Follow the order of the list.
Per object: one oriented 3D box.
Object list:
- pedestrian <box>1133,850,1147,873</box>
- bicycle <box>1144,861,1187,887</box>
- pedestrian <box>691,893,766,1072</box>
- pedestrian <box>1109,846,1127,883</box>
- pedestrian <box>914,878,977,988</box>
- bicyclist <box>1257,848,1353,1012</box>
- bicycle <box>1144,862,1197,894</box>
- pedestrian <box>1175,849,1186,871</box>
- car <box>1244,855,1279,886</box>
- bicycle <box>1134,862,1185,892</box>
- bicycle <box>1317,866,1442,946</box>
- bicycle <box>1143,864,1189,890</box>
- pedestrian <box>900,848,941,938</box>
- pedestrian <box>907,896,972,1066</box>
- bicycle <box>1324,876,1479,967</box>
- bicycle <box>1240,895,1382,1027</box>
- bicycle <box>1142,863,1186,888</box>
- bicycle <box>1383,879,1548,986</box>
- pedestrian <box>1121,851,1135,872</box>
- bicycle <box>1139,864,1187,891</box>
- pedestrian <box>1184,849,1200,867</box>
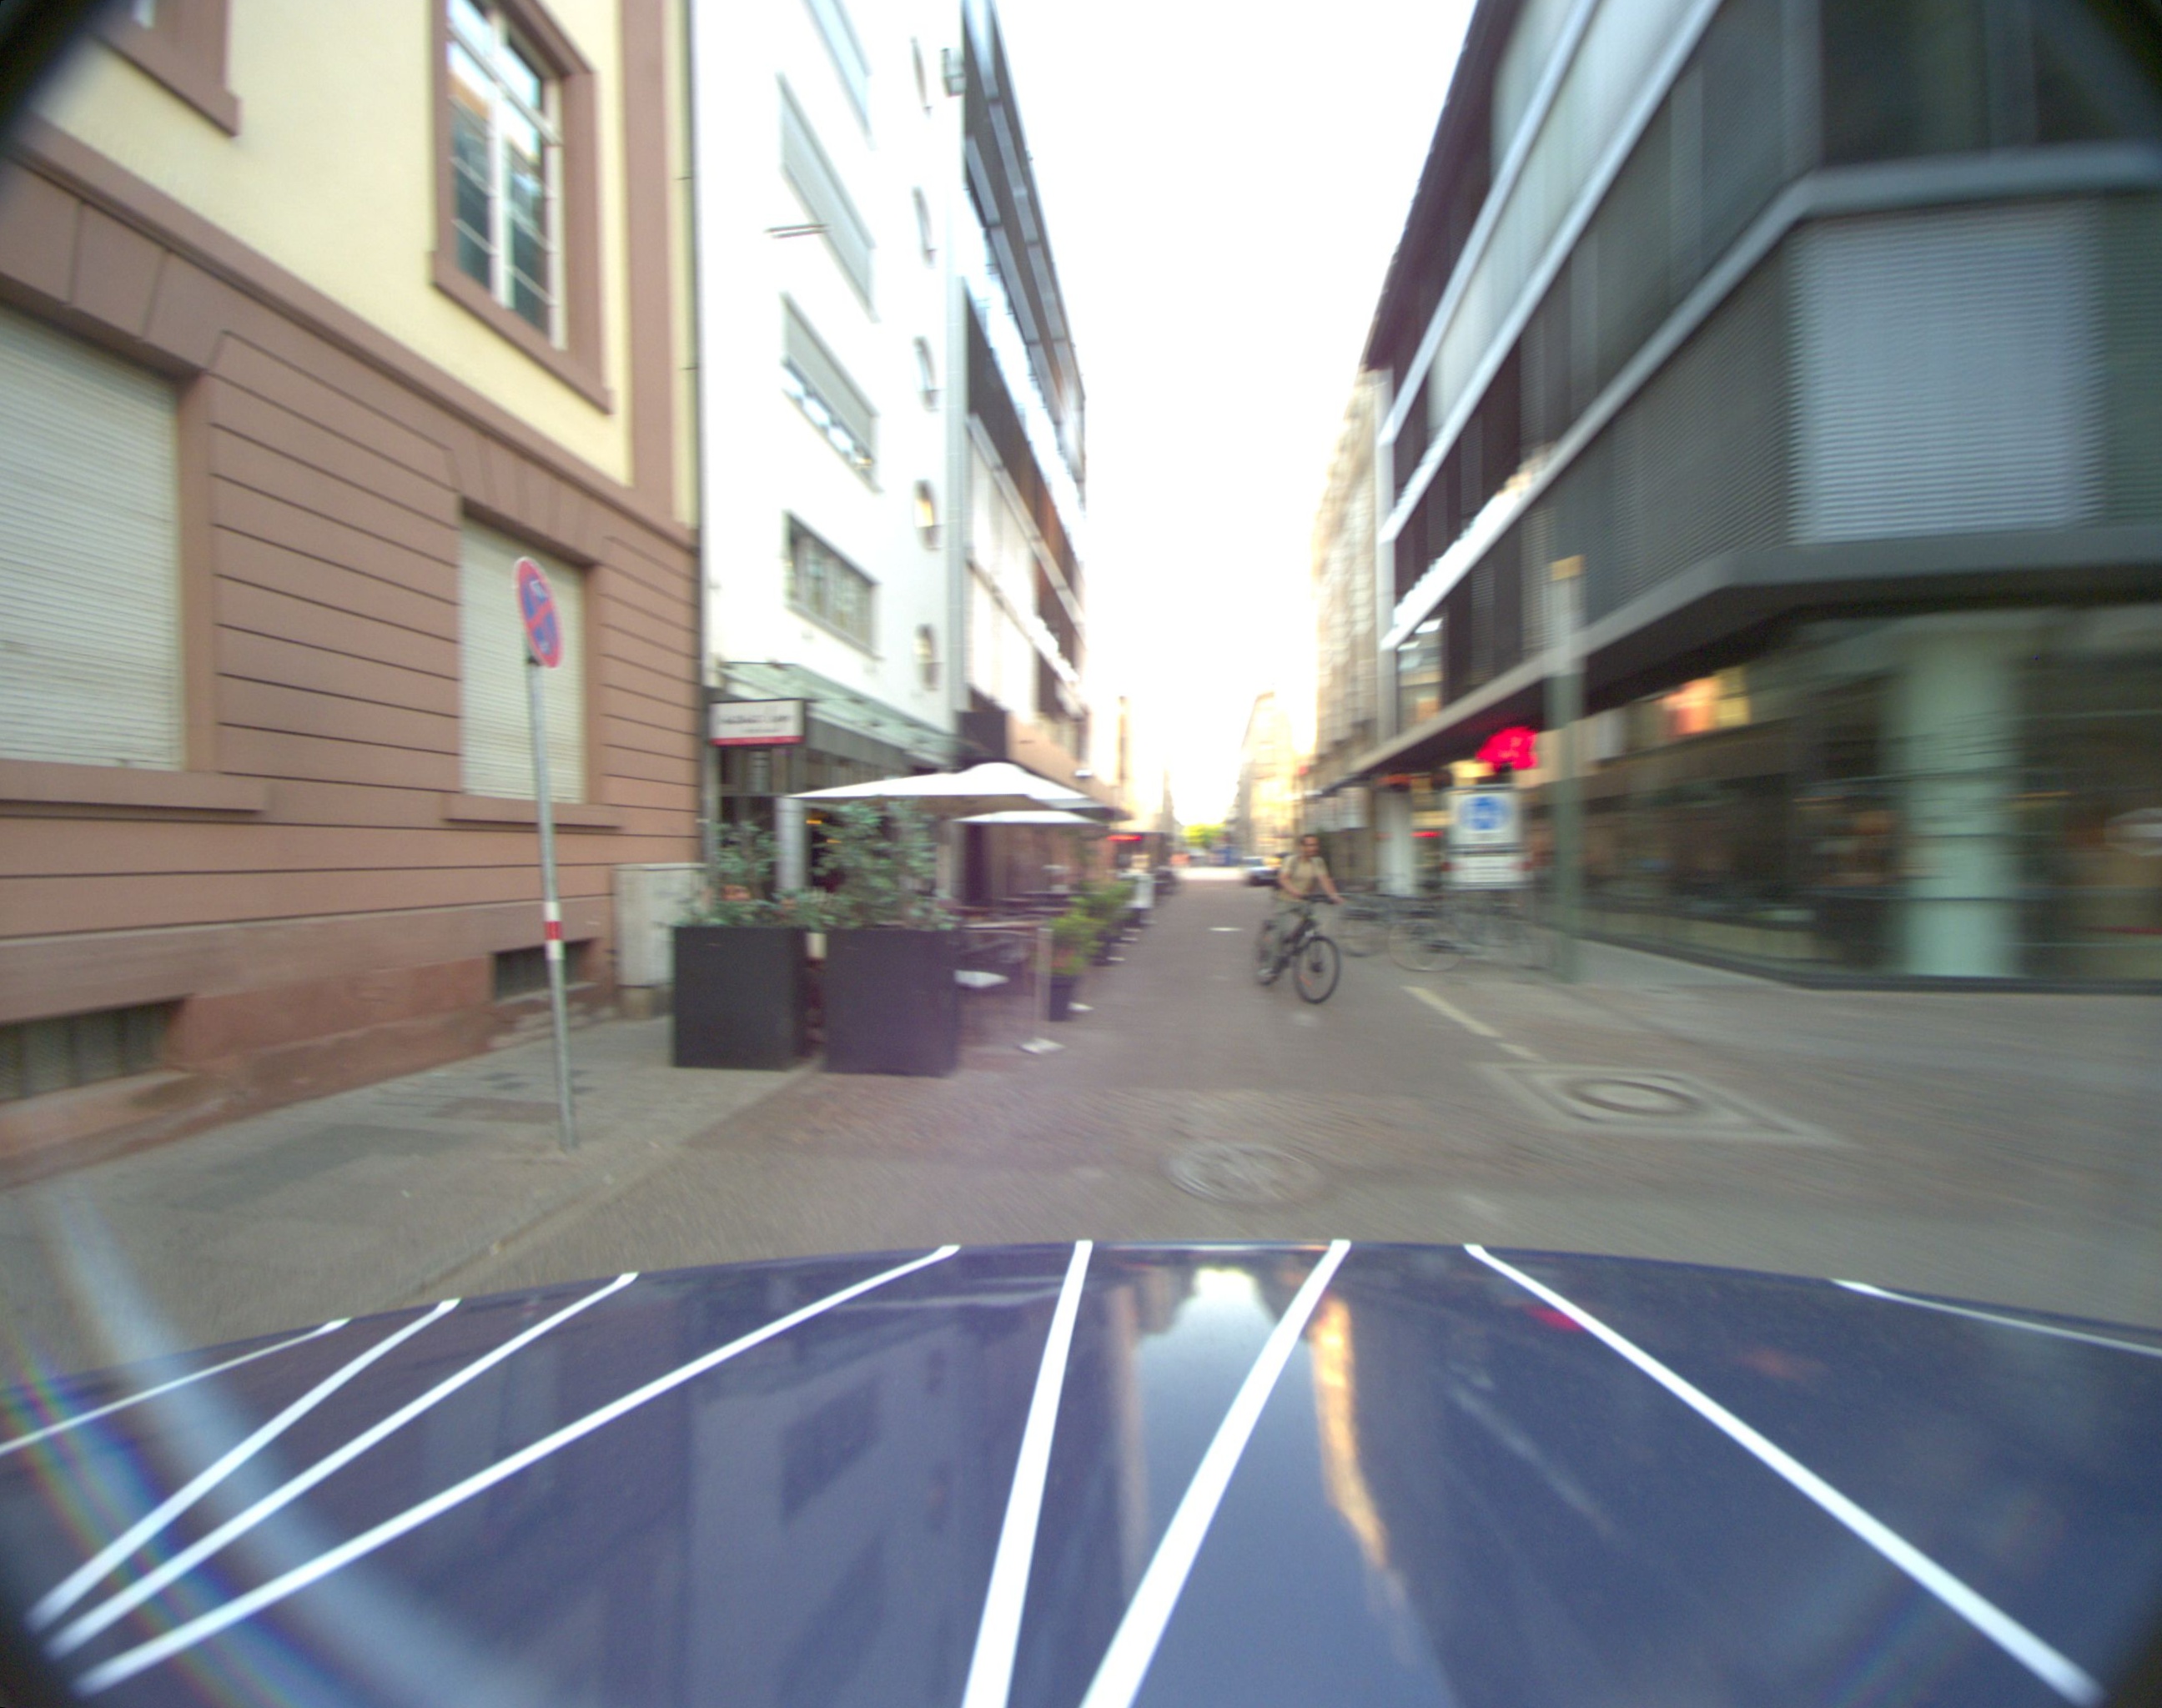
[{"bbox_3d":[4.361,0.541,55.956,0.637,1.612,0.781,-1,2,-40],"label":"pedestrian"},{"bbox_3d":[4.076,0.959,36.672,2.037,1.209,0.619,0,1,8],"label":"bicycle"},{"bbox_3d":[-2.712,0.965,5.880,0.362,1.298,0.495,0,1,-5],"label":"pedestrian"},{"bbox_3d":[1.848,0.507,38.038,0.803,1.825,0.676,0,1,11],"label":"pedestrian"},{"bbox_3d":[-1.850,1.058,10.481,0.575,1.412,0.869,0,1,10],"label":"pedestrian"},{"bbox_3d":[2.398,0.776,8.207,0.676,1.660,0.868,-1,1,-8],"label":"bicyclist"},{"bbox_3d":[3.579,0.928,30.289,2.037,1.161,0.666,2,1,8],"label":"bicycle"},{"bbox_3d":[7.487,0.451,57.250,0.765,1.628,0.668,0,2,1],"label":"pedestrian"},{"bbox_3d":[8.911,0.772,37.533,1.601,1.414,3.607,0,0,13],"label":"car"},{"bbox_3d":[3.295,0.958,31.836,2.037,1.161,0.619,3,1,8],"label":"bicycle"},{"bbox_3d":[5.220,0.908,13.376,1.901,1.262,0.539,-4,0,10],"label":"bicycle"},{"bbox_3d":[3.830,1.035,34.133,2.037,1.161,0.619,0,1,8],"label":"bicycle"},{"bbox_3d":[-3.198,0.760,15.213,0.640,1.762,0.602,0,1,4],"label":"pedestrian"},{"bbox_3d":[-1.055,0.935,5.708,0.400,1.206,0.383,0,1,0],"label":"pedestrian"},{"bbox_3d":[4.509,0.950,10.771,1.901,1.174,0.518,-3,-1,8],"label":"bicycle"},{"bbox_3d":[2.397,1.063,8.200,0.700,1.121,2.003,-1,0,-8],"label":"bicycle"},{"bbox_3d":[3.891,1.011,35.595,2.037,1.161,0.619,0,1,8],"label":"bicycle"},{"bbox_3d":[4.608,0.937,9.177,1.668,1.197,0.509,-2,0,9],"label":"bicycle"},{"bbox_3d":[3.428,0.521,55.384,0.637,1.516,0.781,-1,2,-38],"label":"pedestrian"},{"bbox_3d":[3.581,1.019,33.056,2.037,1.161,0.619,0,1,8],"label":"bicycle"},{"bbox_3d":[9.959,0.345,68.221,0.995,1.563,0.917,-1,1,-37],"label":"pedestrian"}]
